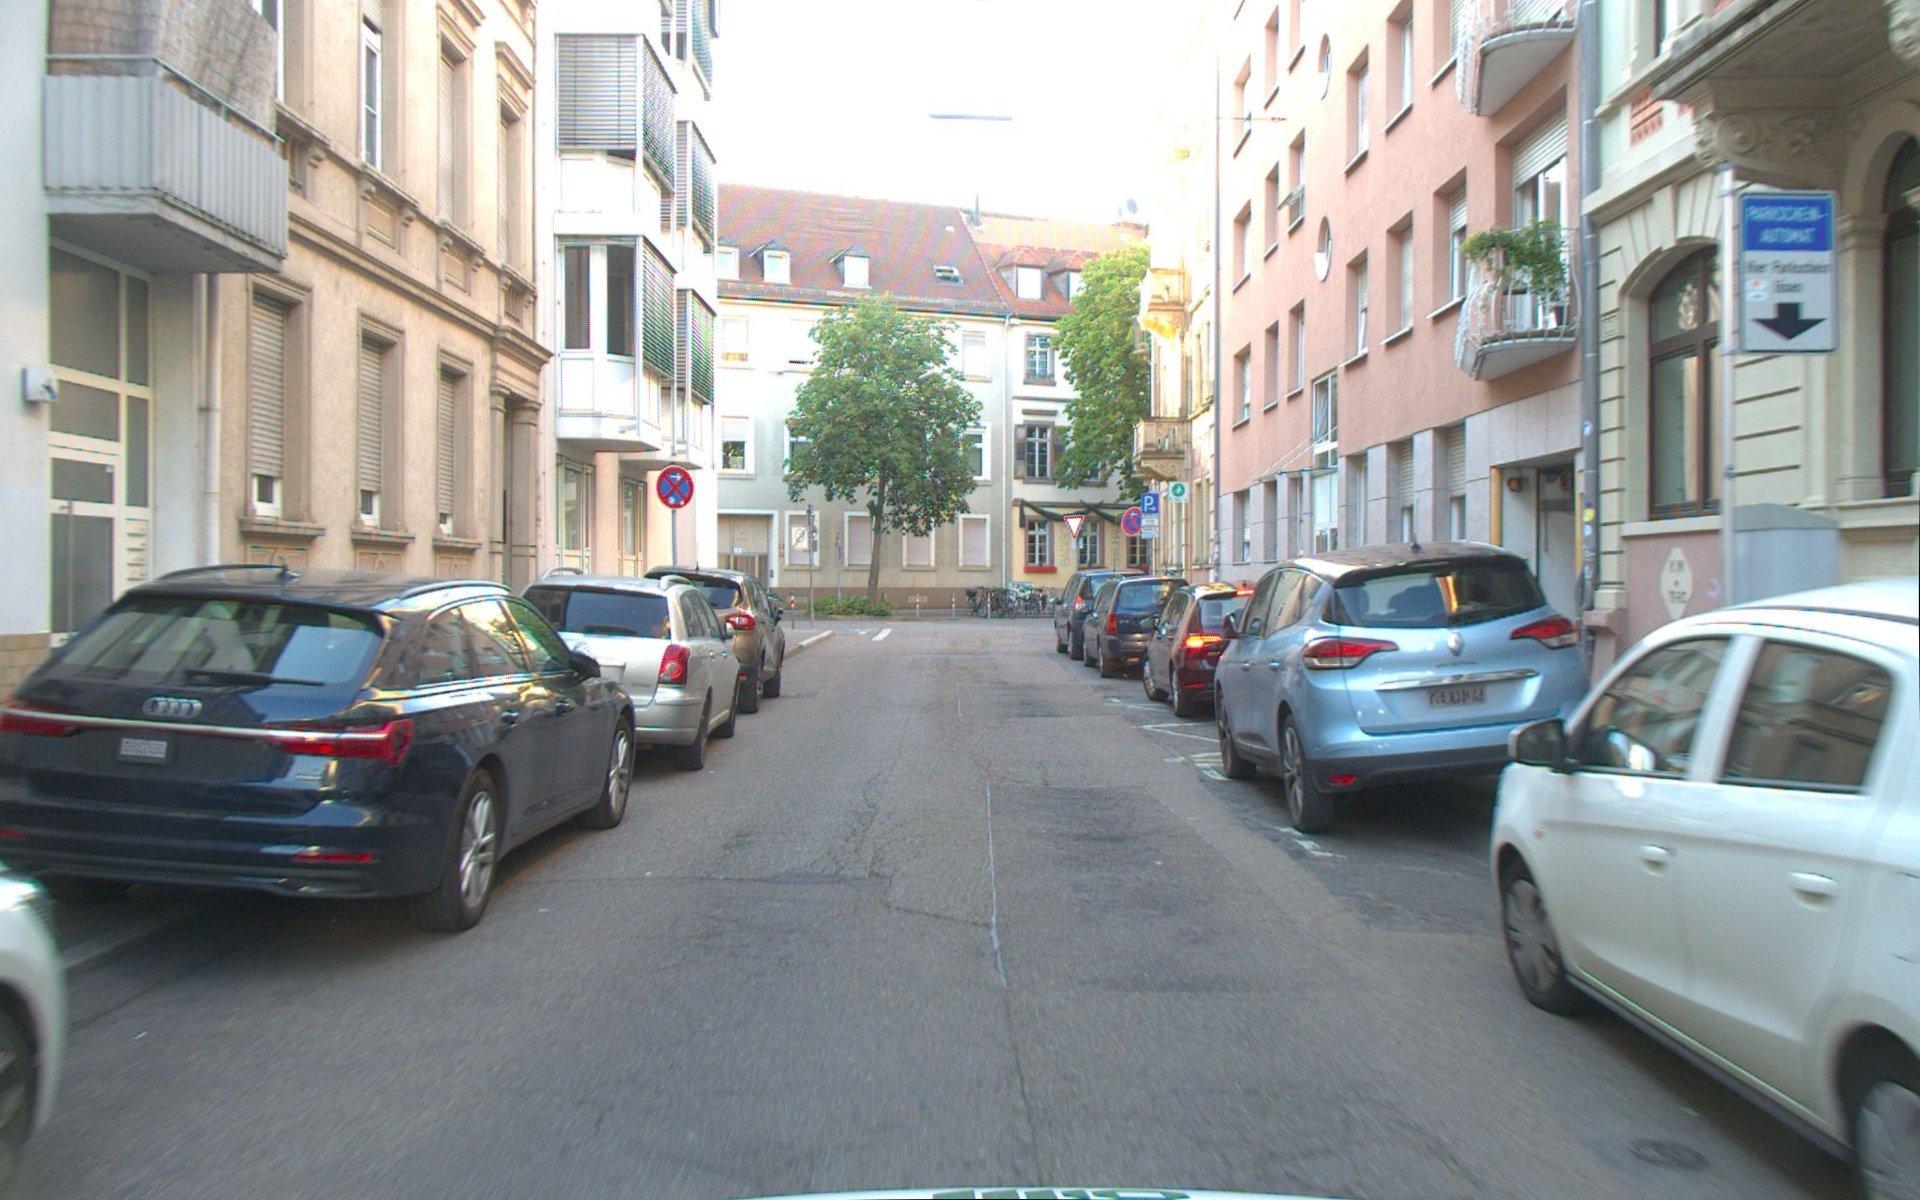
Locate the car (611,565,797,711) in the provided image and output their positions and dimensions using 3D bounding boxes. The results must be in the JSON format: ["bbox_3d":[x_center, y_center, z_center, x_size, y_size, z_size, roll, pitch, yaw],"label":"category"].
[{"bbox_3d":[-3.014,0.391,20.216,1.754,1.603,4.069,0,1,-2],"label":"car"}]

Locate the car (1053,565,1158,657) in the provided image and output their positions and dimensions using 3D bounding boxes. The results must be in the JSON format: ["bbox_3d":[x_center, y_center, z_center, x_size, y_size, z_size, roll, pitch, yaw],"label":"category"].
[{"bbox_3d":[2.743,0.165,31.890,1.655,1.653,4.054,0,1,0],"label":"car"}]

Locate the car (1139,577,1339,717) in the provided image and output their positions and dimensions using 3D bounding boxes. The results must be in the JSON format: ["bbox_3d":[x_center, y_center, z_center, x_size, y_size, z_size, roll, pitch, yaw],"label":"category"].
[{"bbox_3d":[3.170,0.471,19.559,1.655,1.483,4.132,0,1,0],"label":"car"}]

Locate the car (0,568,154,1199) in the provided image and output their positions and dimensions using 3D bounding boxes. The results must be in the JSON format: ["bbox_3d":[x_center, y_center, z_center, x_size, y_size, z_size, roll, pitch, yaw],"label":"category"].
[{"bbox_3d":[-2.805,0.709,2.214,1.604,1.515,3.788,0,1,0],"label":"car"}]

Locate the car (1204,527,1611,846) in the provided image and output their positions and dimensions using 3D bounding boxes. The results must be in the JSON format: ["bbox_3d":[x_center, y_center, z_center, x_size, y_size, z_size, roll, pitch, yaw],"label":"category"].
[{"bbox_3d":[2.798,0.454,11.275,1.655,1.771,4.109,0,1,0],"label":"car"}]

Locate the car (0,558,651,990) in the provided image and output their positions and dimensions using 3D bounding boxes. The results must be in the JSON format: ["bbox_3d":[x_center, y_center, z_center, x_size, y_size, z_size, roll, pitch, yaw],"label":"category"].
[{"bbox_3d":[-2.832,0.601,8.252,1.754,1.566,4.494,0,1,0],"label":"car"}]

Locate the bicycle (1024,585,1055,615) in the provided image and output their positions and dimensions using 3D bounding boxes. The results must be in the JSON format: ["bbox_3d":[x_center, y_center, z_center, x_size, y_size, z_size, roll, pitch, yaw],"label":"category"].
[{"bbox_3d":[3.129,-0.021,65.258,0.414,1.165,2.028,-1,1,-23],"label":"bicycle"}]

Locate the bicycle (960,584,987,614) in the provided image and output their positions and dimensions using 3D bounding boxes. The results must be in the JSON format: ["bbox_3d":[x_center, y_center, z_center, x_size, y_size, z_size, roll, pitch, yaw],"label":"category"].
[{"bbox_3d":[0.516,-0.051,64.214,0.438,1.165,2.031,-1,1,-18],"label":"bicycle"}]

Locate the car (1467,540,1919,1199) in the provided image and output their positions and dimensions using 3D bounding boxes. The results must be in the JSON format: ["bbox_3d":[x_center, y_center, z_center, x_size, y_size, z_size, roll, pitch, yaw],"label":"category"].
[{"bbox_3d":[2.751,0.661,4.657,1.538,1.606,3.590,0,1,0],"label":"car"}]

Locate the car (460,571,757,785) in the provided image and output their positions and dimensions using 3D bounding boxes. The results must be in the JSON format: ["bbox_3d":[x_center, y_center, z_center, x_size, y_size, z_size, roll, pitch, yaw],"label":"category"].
[{"bbox_3d":[-2.842,0.541,14.338,1.754,1.566,4.433,0,1,-2],"label":"car"}]

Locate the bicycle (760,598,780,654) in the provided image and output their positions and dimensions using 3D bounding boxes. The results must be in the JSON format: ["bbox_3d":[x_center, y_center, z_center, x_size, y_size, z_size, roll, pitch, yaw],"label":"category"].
[{"bbox_3d":[-3.939,0.527,34.406,0.392,1.121,1.811,0,1,-6],"label":"bicycle"}]

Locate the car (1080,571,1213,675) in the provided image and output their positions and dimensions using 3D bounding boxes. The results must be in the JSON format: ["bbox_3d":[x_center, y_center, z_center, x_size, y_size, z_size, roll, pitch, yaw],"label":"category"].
[{"bbox_3d":[2.938,0.315,26.772,1.655,1.540,4.283,0,1,0],"label":"car"}]

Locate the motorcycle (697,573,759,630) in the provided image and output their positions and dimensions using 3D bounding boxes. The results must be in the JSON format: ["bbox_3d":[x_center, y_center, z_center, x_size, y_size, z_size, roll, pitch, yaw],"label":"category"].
[{"bbox_3d":[-6.628,0.029,47.259,0.664,1.582,2.129,-1,1,-42],"label":"motorcycle"}]

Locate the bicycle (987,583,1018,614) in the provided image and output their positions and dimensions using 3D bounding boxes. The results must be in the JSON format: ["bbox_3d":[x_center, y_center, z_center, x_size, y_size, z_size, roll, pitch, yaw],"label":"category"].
[{"bbox_3d":[1.596,-0.070,62.691,0.438,1.165,2.029,-1,1,-21],"label":"bicycle"}]
